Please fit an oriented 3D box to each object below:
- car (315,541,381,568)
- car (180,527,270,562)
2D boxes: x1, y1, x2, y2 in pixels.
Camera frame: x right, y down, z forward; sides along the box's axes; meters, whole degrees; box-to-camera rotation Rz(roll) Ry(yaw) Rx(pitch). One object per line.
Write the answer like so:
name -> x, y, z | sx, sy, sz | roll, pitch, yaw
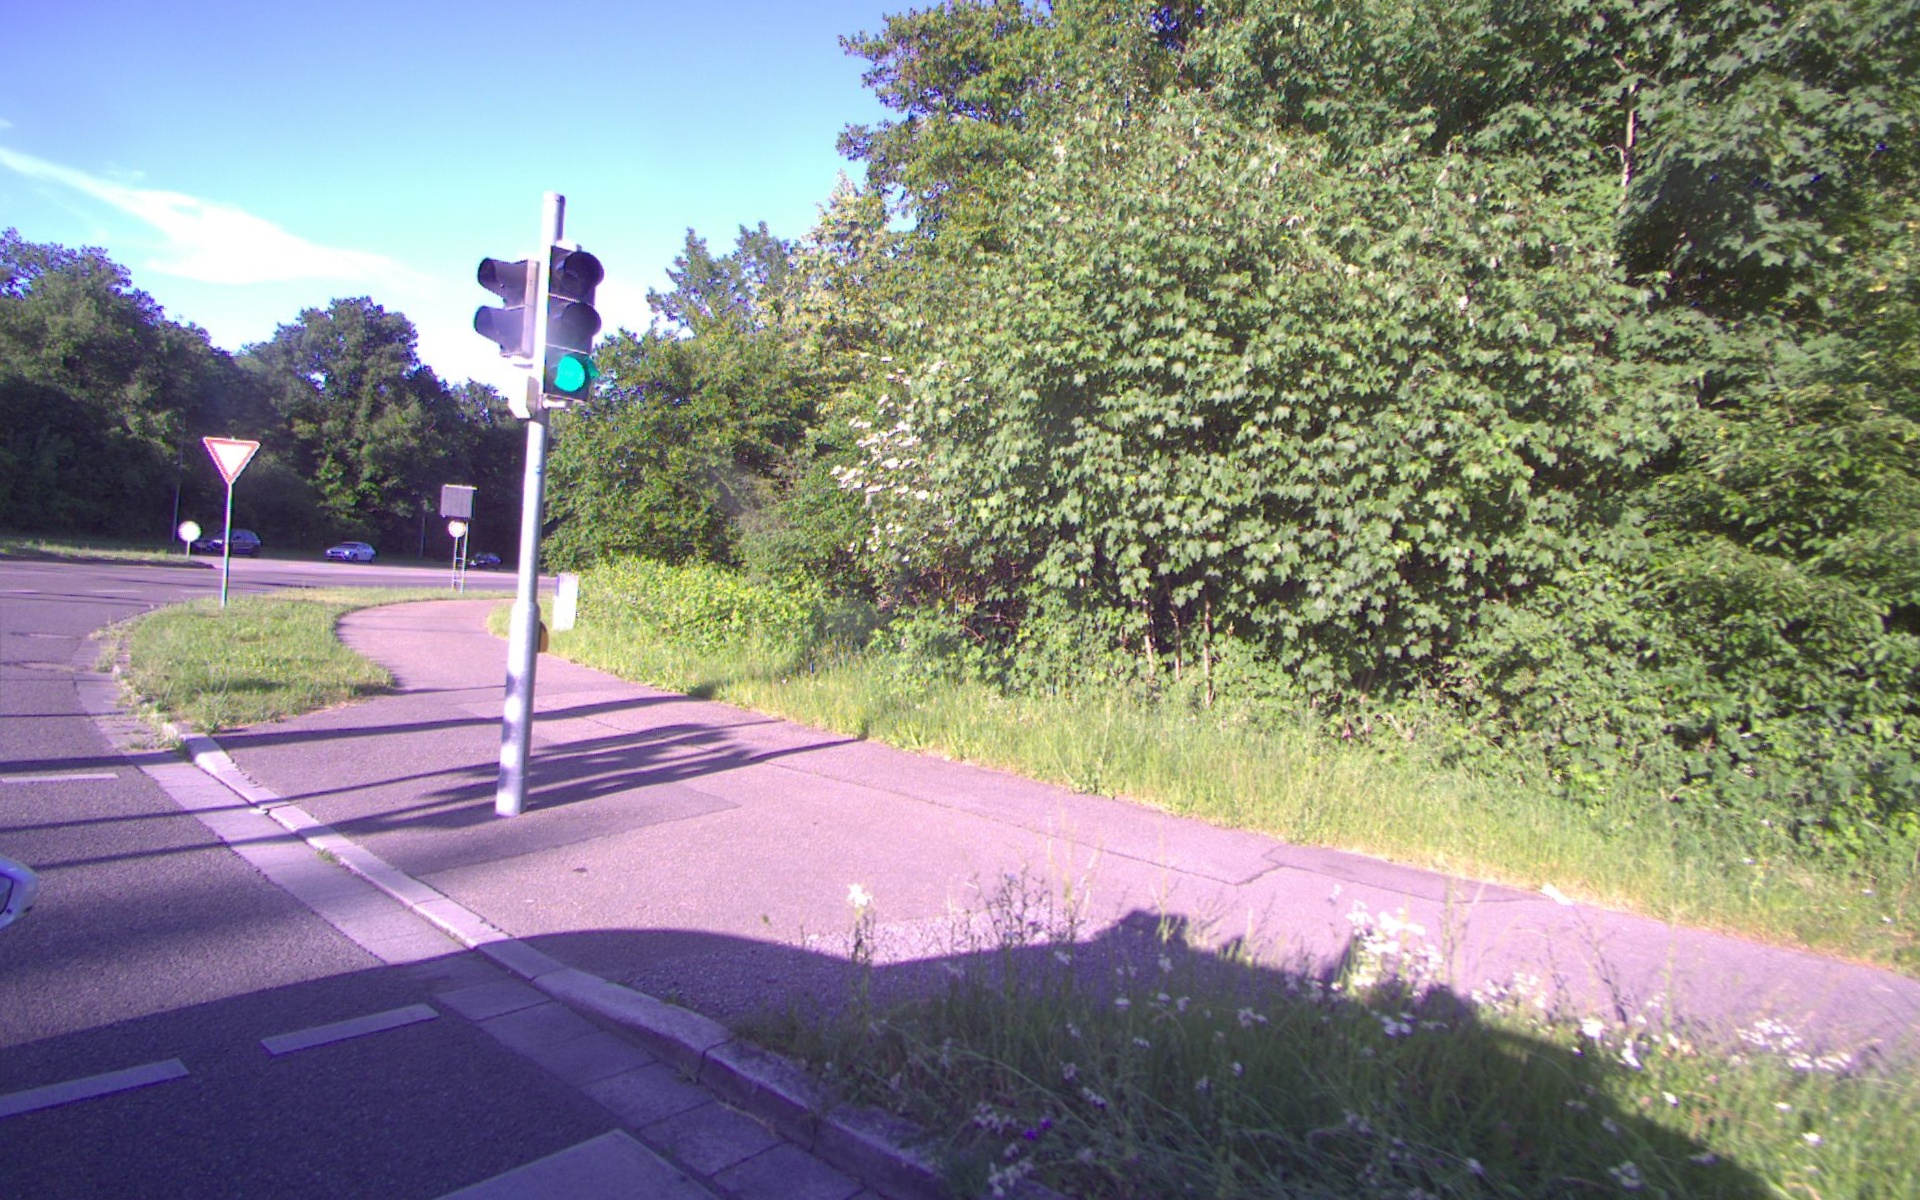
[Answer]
car -> -42.897, -3.171, 70.667 | 1.964, 1.548, 4.647 | 6, 0, -4
car -> -41.444, -3.083, 56.885 | 1.964, 1.548, 4.646 | 6, 0, -6
